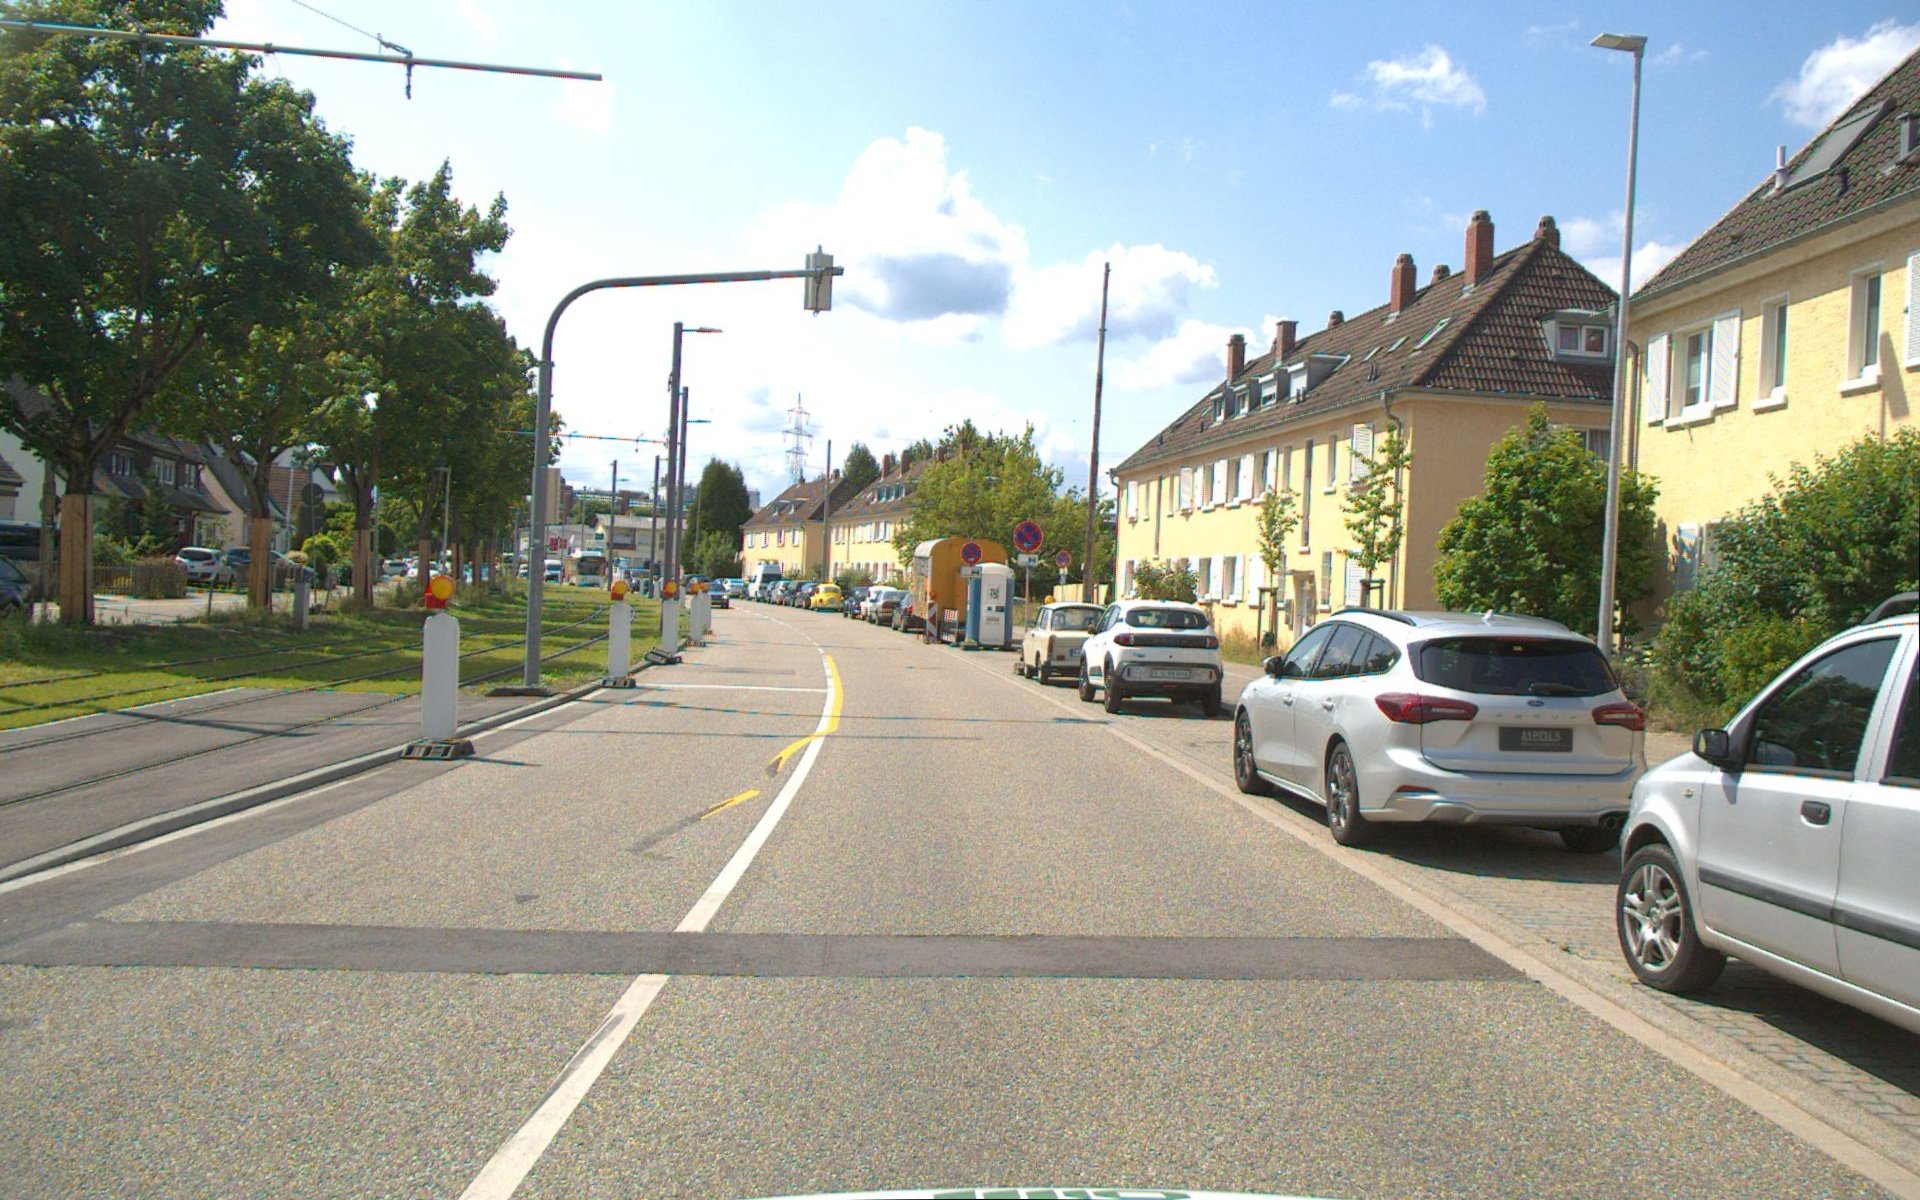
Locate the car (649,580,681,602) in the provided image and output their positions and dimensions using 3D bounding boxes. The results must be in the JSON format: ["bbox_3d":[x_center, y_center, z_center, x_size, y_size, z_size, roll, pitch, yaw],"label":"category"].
[{"bbox_3d":[-20.564,-0.636,115.194,1.696,1.413,4.104,2,0,-16],"label":"car"}]

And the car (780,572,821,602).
[{"bbox_3d":[-9.663,-0.794,100.009,1.610,1.630,3.913,3,1,-17],"label":"car"}]

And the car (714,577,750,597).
[{"bbox_3d":[-17.375,-1.002,125.960,1.772,1.483,4.737,0,1,-20],"label":"car"}]

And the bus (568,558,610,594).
[{"bbox_3d":[-37.273,-2.458,165.888,2.597,3.472,12.178,1,1,-20],"label":"bus"}]

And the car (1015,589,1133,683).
[{"bbox_3d":[2.000,0.603,29.998,1.435,1.528,4.104,2,0,-6],"label":"car"}]

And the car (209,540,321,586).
[{"bbox_3d":[-32.052,-1.700,76.394,4.396,1.868,2.057,3,0,-15],"label":"car"}]

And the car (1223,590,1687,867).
[{"bbox_3d":[3.176,0.724,11.603,1.715,1.524,4.383,2,0,-3],"label":"car"}]

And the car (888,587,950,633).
[{"bbox_3d":[-1.530,0.328,59.833,1.549,1.474,4.443,2,1,-10],"label":"car"}]

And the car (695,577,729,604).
[{"bbox_3d":[-13.979,-0.557,93.195,1.636,1.474,3.947,0,1,-13],"label":"car"}]

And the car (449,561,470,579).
[{"bbox_3d":[-46.058,-2.766,152.099,1.702,1.531,4.544,1,1,-19],"label":"car"}]

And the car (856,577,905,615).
[{"bbox_3d":[-3.504,-0.215,72.439,1.549,1.539,4.449,2,1,-10],"label":"car"}]

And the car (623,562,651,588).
[{"bbox_3d":[-26.066,-2.066,133.505,1.922,2.000,5.274,2,1,-14],"label":"car"}]

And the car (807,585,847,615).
[{"bbox_3d":[-7.215,-0.017,89.591,1.608,1.508,3.919,0,2,-13],"label":"car"}]

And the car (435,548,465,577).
[{"bbox_3d":[-49.720,-3.650,161.211,2.046,2.768,6.952,0,1,-24],"label":"car"}]

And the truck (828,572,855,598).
[{"bbox_3d":[-8.086,-1.038,112.679,1.324,1.718,2.431,2,0,-16],"label":"truck"}]

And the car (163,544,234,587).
[{"bbox_3d":[-30.006,-1.352,65.253,1.699,1.544,4.031,3,0,-13],"label":"car"}]

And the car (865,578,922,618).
[{"bbox_3d":[-2.743,-0.090,67.410,1.675,1.474,4.824,3,1,-10],"label":"car"}]

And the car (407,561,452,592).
[{"bbox_3d":[-33.418,-1.484,104.283,1.847,1.799,5.072,2,0,-9],"label":"car"}]

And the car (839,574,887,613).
[{"bbox_3d":[-4.582,-0.338,77.452,1.522,1.669,4.233,2,1,-13],"label":"car"}]

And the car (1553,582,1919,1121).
[{"bbox_3d":[3.600,0.756,5.705,1.595,1.577,3.808,2,0,-2],"label":"car"}]

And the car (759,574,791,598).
[{"bbox_3d":[-12.133,-0.940,108.440,1.511,1.470,3.722,3,1,-15],"label":"car"}]

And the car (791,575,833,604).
[{"bbox_3d":[-8.481,-0.641,94.501,1.609,1.508,4.108,3,1,-15],"label":"car"}]

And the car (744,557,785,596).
[{"bbox_3d":[-13.470,-1.619,113.605,1.898,2.524,5.493,1,1,-16],"label":"car"}]

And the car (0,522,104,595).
[{"bbox_3d":[-27.200,-1.252,48.227,3.840,1.929,1.925,4,0,-29],"label":"car"}]

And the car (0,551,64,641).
[{"bbox_3d":[-16.184,-0.095,25.717,1.814,1.411,4.808,3,0,0],"label":"car"}]

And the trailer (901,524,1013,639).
[{"bbox_3d":[-0.176,-0.574,51.355,2.640,3.282,5.072,2,0,-9],"label":"trailer"}]

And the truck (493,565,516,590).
[{"bbox_3d":[-67.985,-3.377,246.693,2.524,3.519,7.101,0,1,-22],"label":"truck"}]

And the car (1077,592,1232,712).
[{"bbox_3d":[2.654,0.665,23.321,1.497,1.507,3.807,2,0,-3],"label":"car"}]

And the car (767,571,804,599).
[{"bbox_3d":[-10.991,-0.932,103.866,1.609,1.630,4.013,3,1,-15],"label":"car"}]

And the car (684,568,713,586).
[{"bbox_3d":[-22.028,-1.928,139.342,1.738,1.441,3.977,1,1,-20],"label":"car"}]

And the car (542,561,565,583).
[{"bbox_3d":[-47.057,-3.249,191.289,2.070,2.486,5.543,3,0,-18],"label":"car"}]
